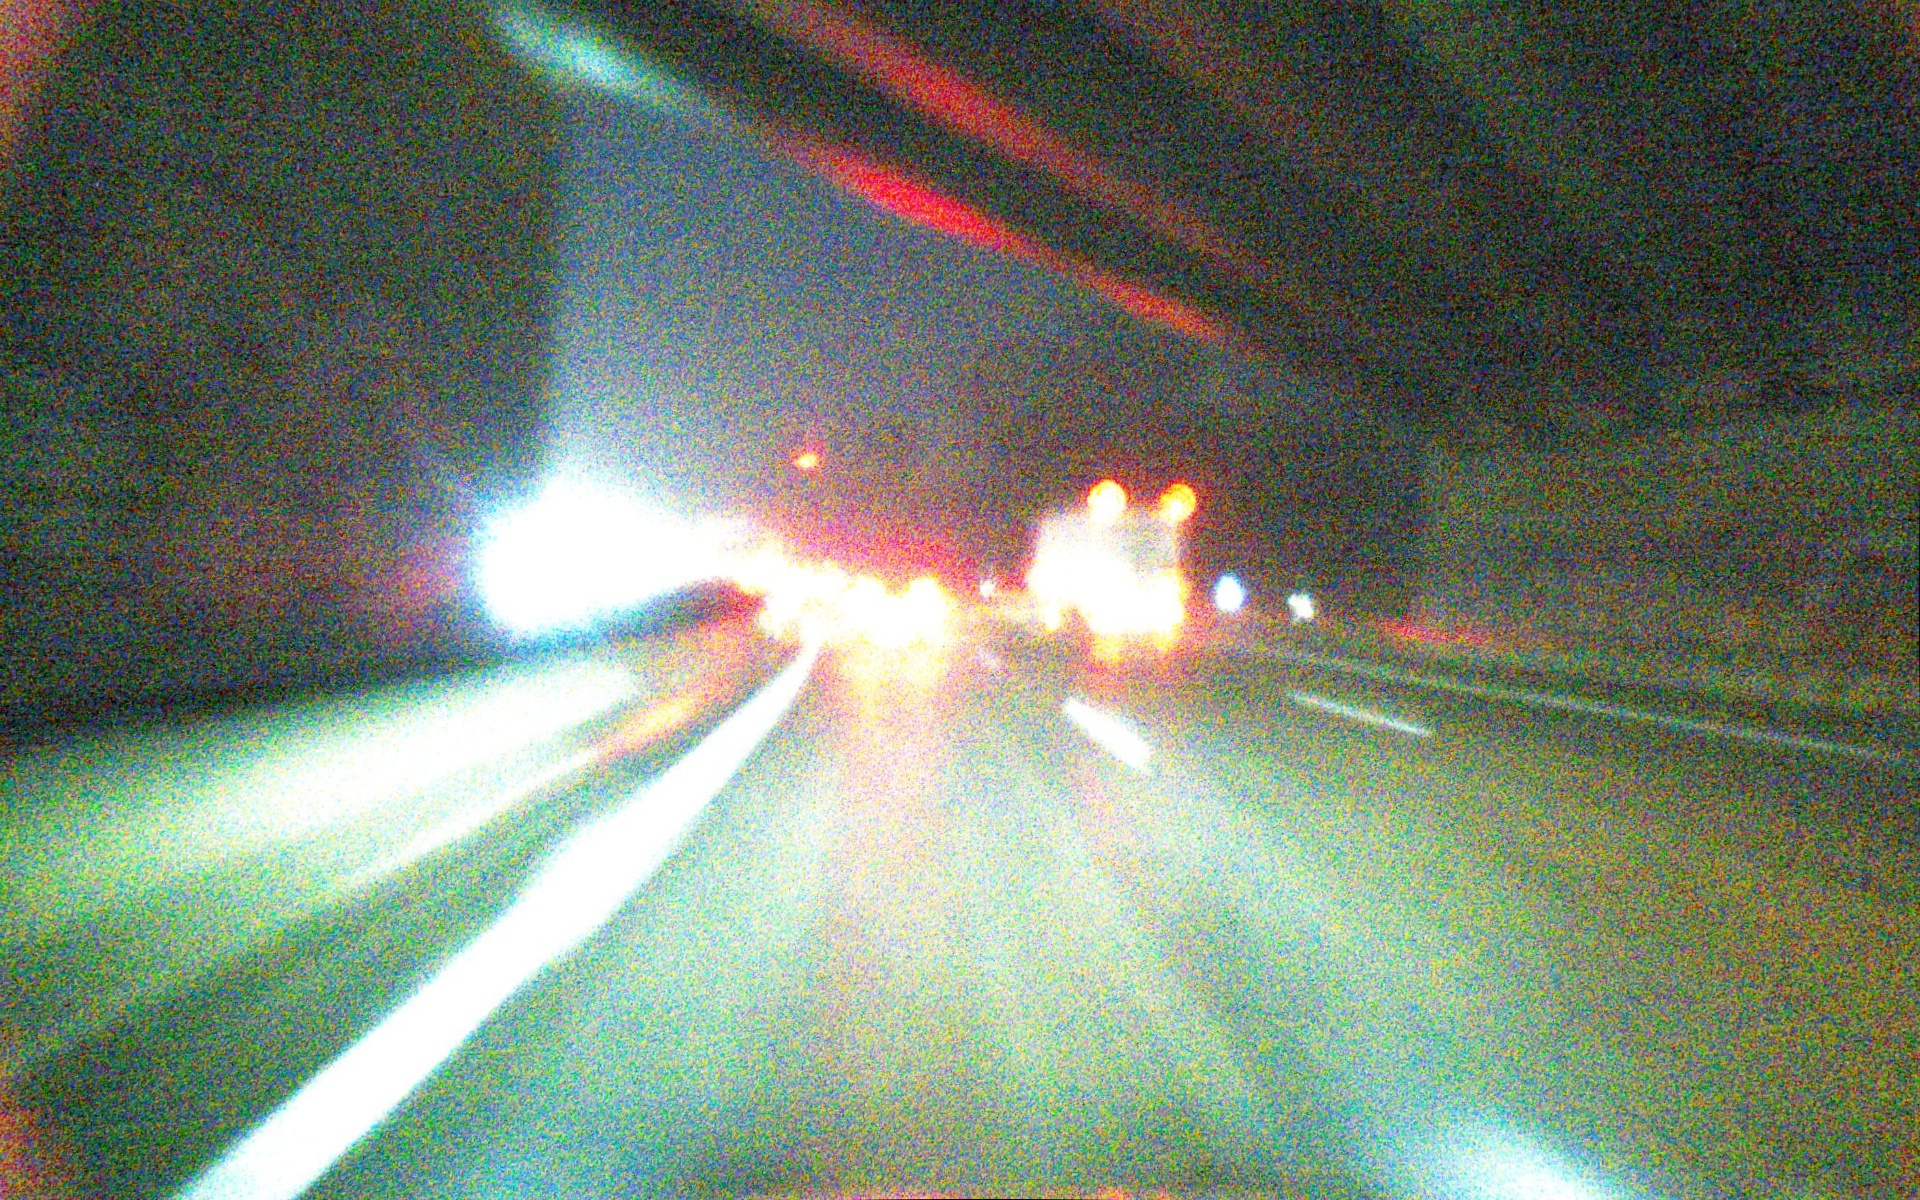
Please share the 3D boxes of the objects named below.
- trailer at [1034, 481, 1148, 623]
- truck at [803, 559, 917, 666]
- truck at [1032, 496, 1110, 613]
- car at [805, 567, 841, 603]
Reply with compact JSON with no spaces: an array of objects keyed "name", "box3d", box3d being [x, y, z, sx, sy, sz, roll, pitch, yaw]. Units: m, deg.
[{"name":"trailer","box3d":[4.339,-1.619,57.625,2.683,4.322,13.370,-1,1,-1]},{"name":"truck","box3d":[-2.243,0.183,38.867,2.102,2.112,6.604,5,1,0]},{"name":"truck","box3d":[4.246,-1.732,64.168,2.655,4.315,5.293,1,1,1]},{"name":"car","box3d":[-7.983,-0.850,96.825,1.953,2.049,3.998,0,0,-3]}]
